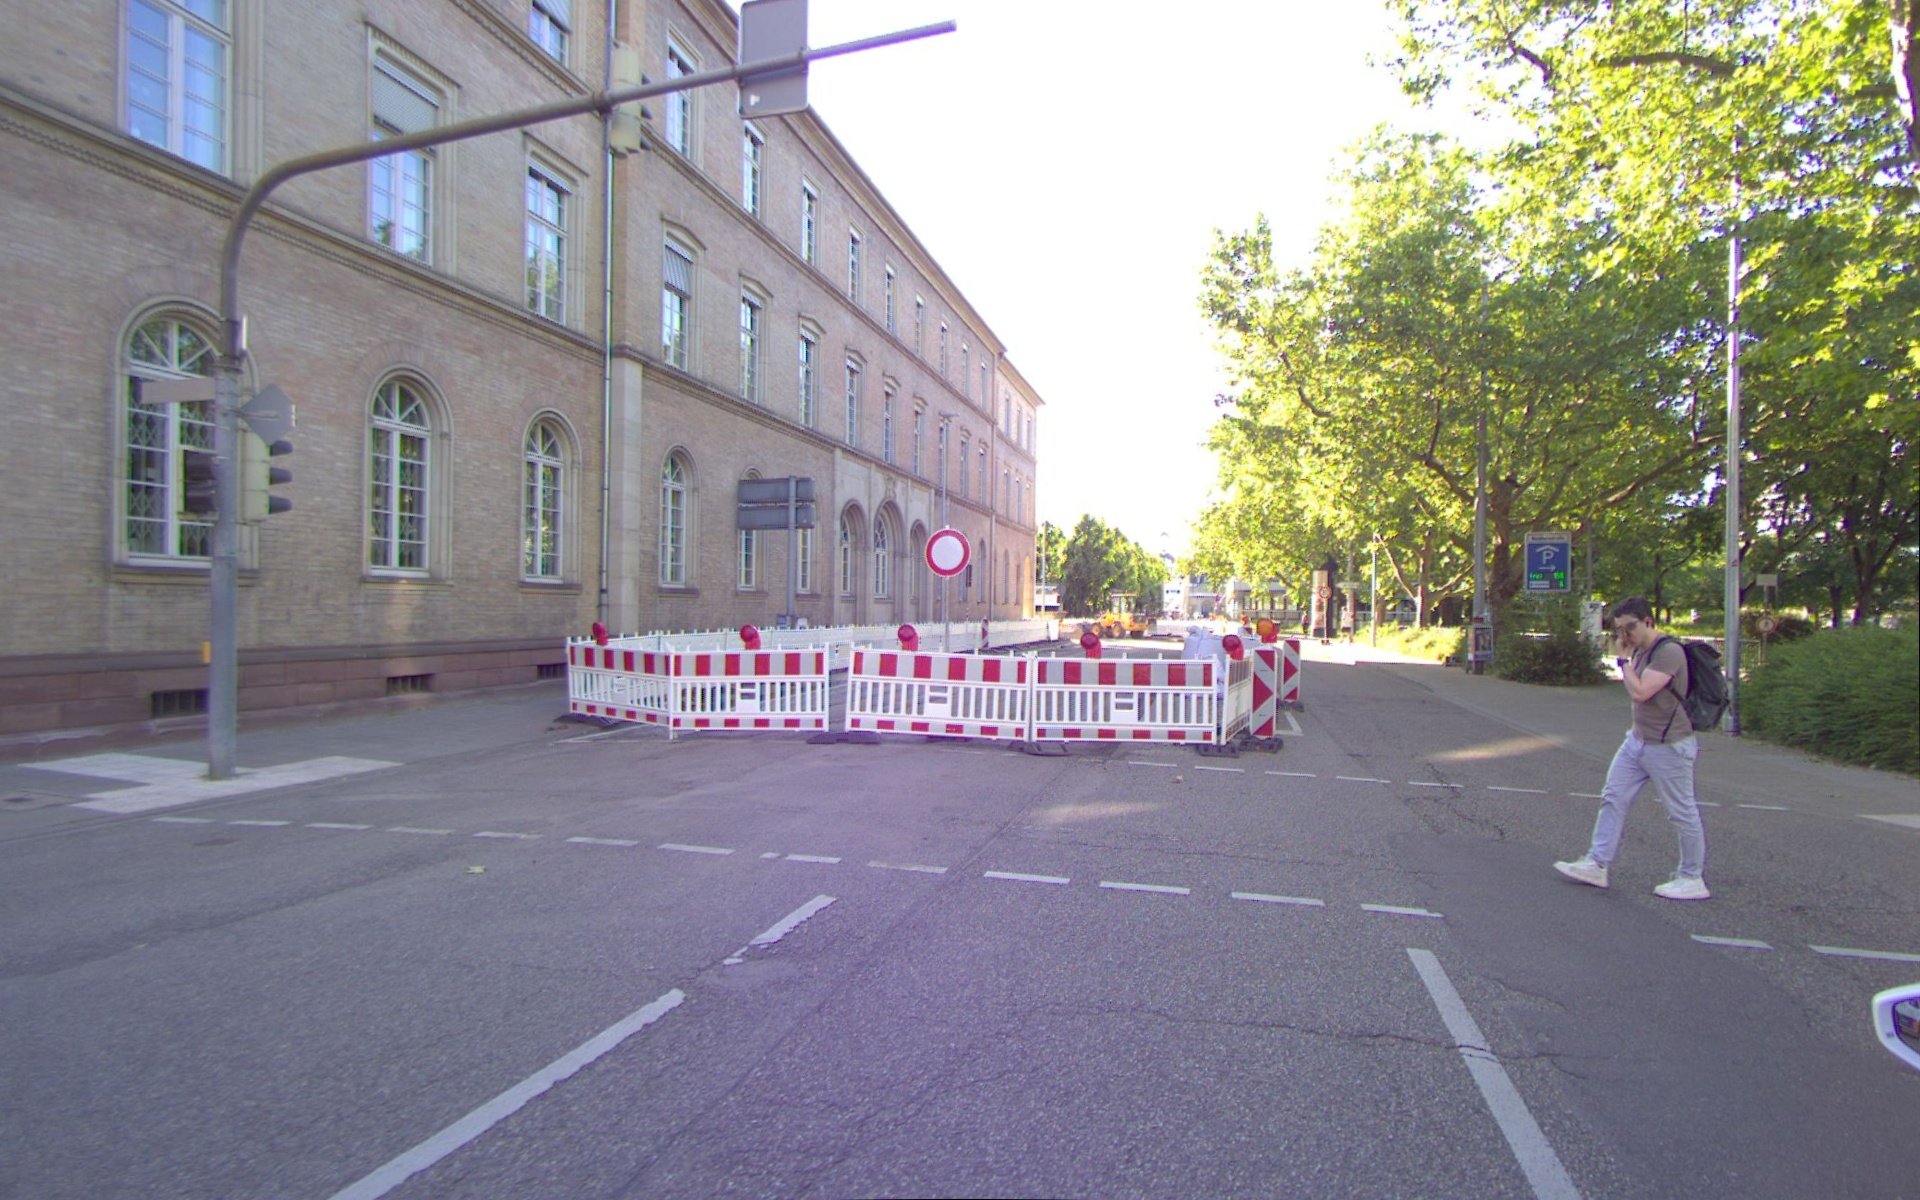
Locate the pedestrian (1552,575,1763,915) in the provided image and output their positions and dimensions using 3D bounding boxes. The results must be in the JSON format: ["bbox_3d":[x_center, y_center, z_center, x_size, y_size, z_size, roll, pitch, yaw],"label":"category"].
[{"bbox_3d":[3.990,0.766,5.826,0.867,1.795,0.747,1,0,25],"label":"pedestrian"}]

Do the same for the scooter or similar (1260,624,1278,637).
[{"bbox_3d":[21.516,2.110,69.969,1.127,0.926,0.420,-1,-2,7],"label":"scooter or similar"}]

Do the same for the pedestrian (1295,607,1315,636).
[{"bbox_3d":[20.353,1.269,59.313,0.699,1.645,0.936,1,-1,-17],"label":"pedestrian"}]

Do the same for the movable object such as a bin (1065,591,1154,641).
[{"bbox_3d":[9.503,1.023,64.499,2.538,3.071,5.882,0,-1,-31],"label":"movable object such as a bin"}]

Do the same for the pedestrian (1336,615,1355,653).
[{"bbox_3d":[19.443,1.690,50.664,0.732,1.837,1.134,0,1,13],"label":"pedestrian"}]
